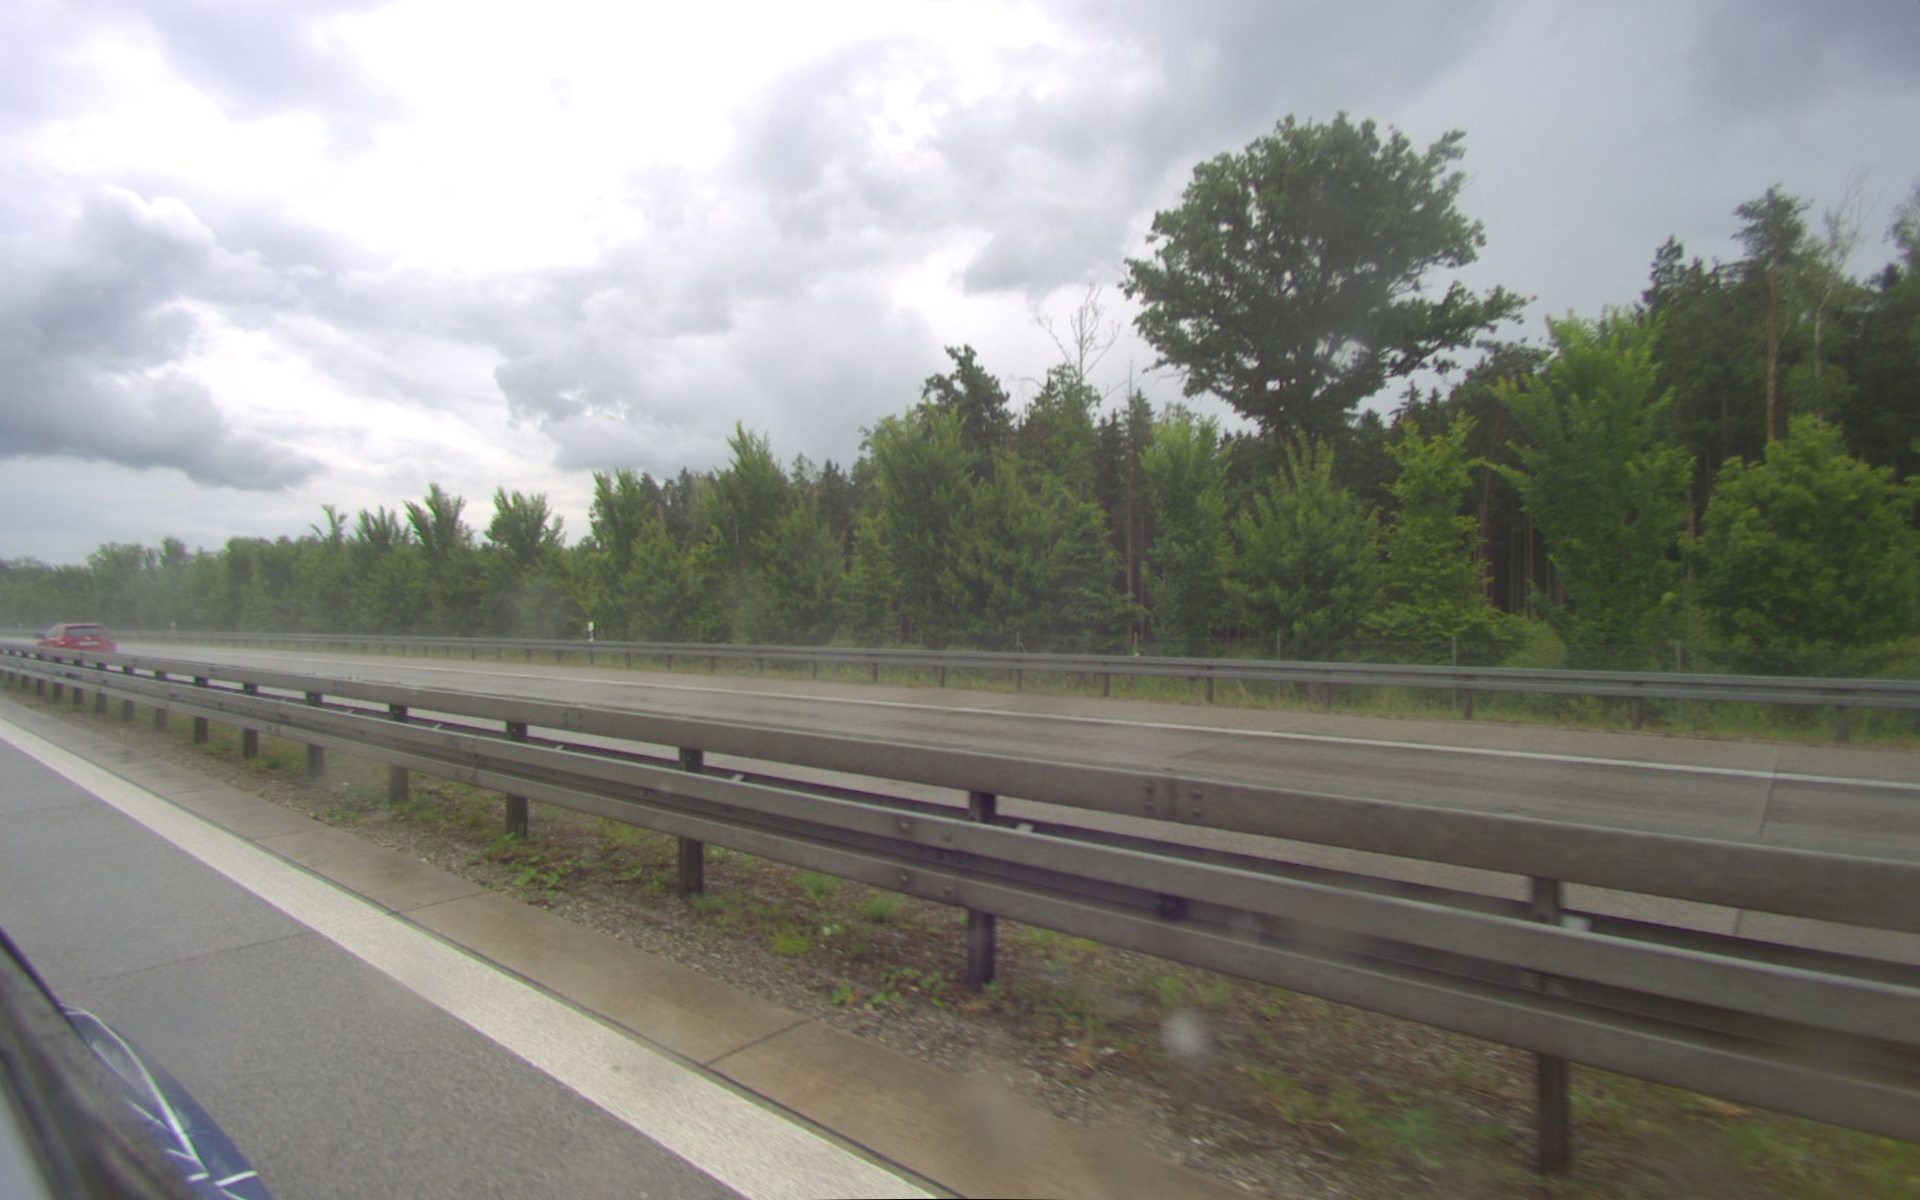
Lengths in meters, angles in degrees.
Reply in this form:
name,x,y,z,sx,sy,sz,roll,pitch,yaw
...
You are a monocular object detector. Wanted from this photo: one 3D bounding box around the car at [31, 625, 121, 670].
name,x,y,z,sx,sy,sz,roll,pitch,yaw
car,-30.698,1.674,35.129,3.843,1.475,1.746,-3,-4,40
